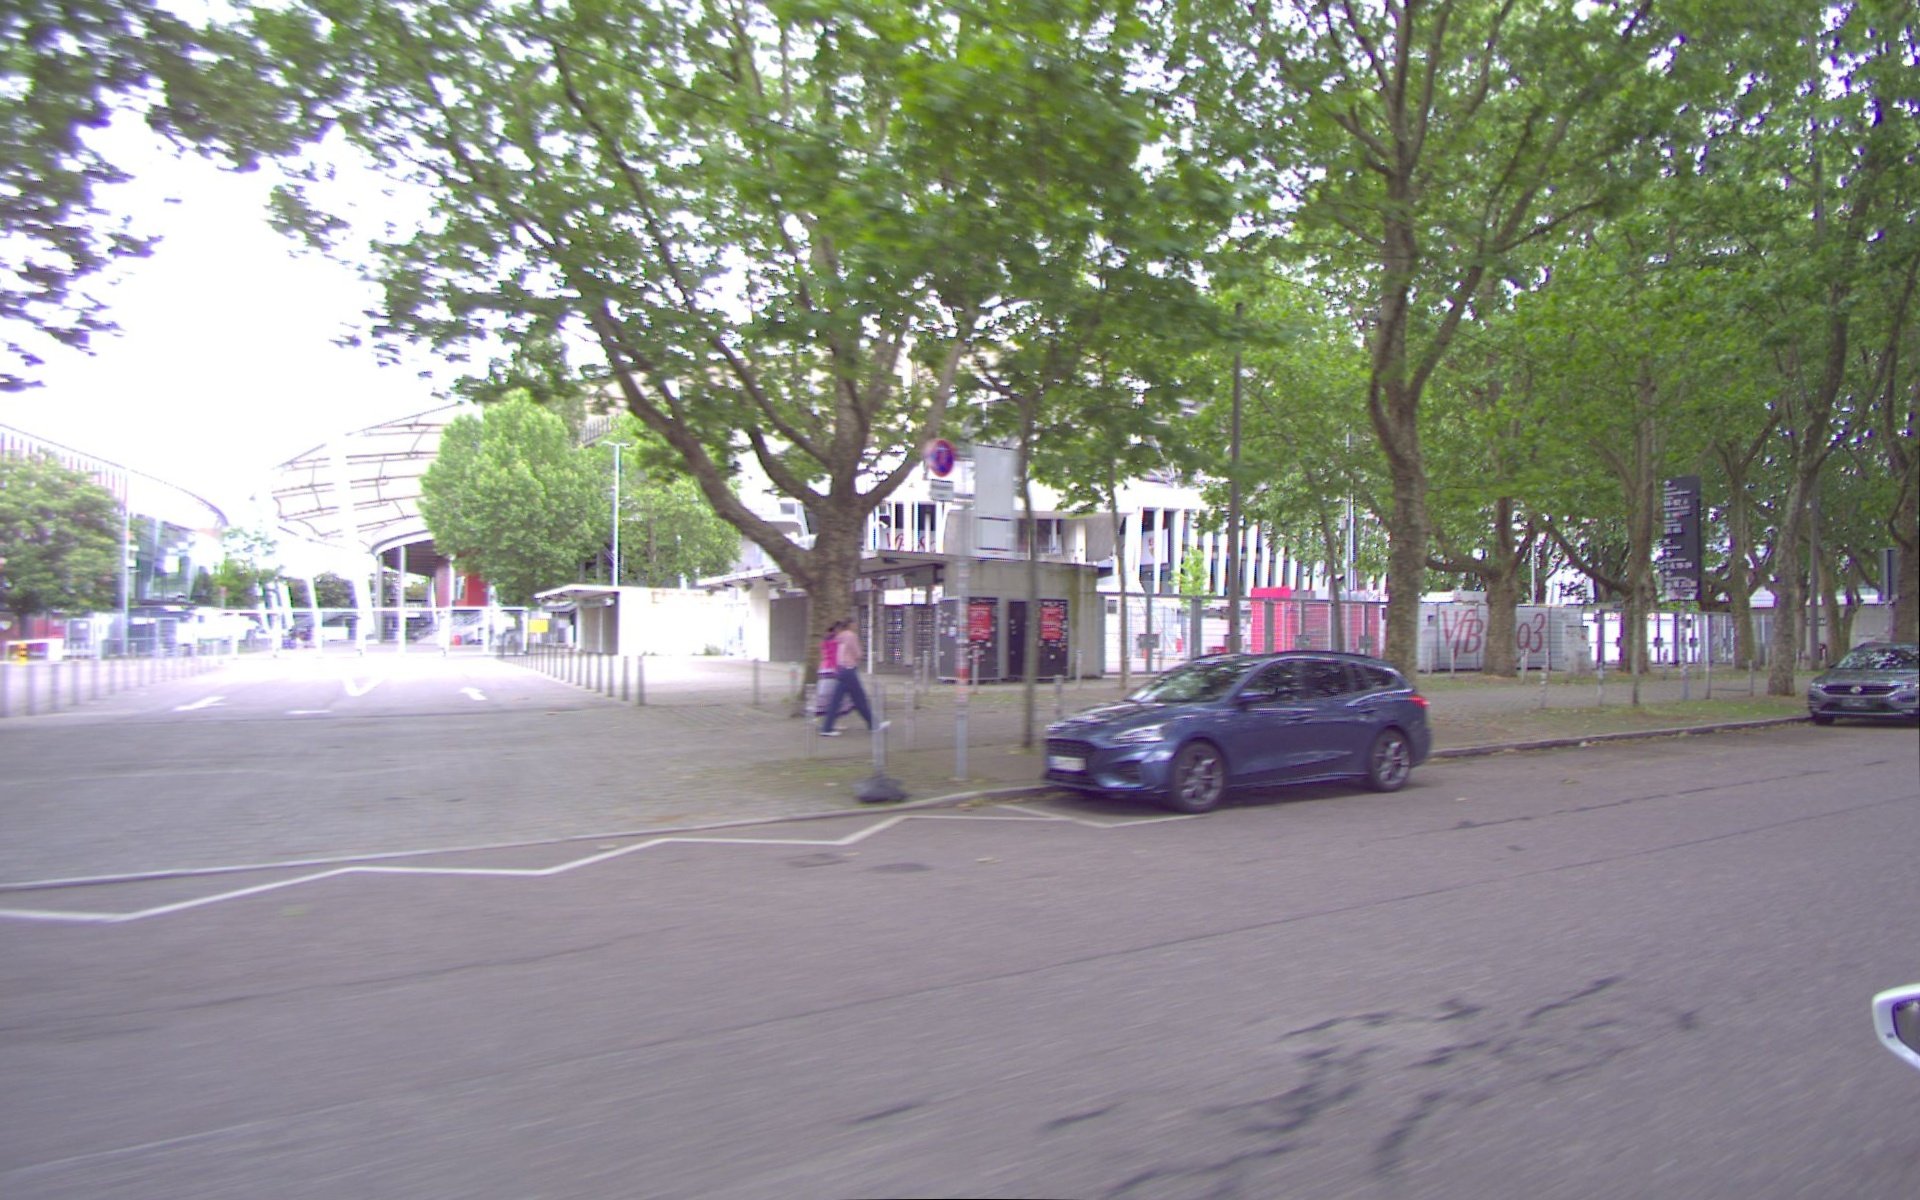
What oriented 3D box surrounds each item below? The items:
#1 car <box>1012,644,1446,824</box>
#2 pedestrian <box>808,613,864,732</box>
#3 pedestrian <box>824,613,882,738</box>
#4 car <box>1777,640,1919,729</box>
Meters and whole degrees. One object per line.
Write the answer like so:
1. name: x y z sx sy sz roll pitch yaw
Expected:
1. car: 2.895 1.230 10.490 4.520 1.505 1.717 1 -2 -30
2. pedestrian: -1.891 1.095 15.298 0.755 1.765 0.575 1 -2 -15
3. pedestrian: -1.581 1.093 14.781 0.755 1.793 0.577 1 -2 -15
4. car: 17.764 1.544 19.275 4.102 1.547 1.870 1 -3 -30
